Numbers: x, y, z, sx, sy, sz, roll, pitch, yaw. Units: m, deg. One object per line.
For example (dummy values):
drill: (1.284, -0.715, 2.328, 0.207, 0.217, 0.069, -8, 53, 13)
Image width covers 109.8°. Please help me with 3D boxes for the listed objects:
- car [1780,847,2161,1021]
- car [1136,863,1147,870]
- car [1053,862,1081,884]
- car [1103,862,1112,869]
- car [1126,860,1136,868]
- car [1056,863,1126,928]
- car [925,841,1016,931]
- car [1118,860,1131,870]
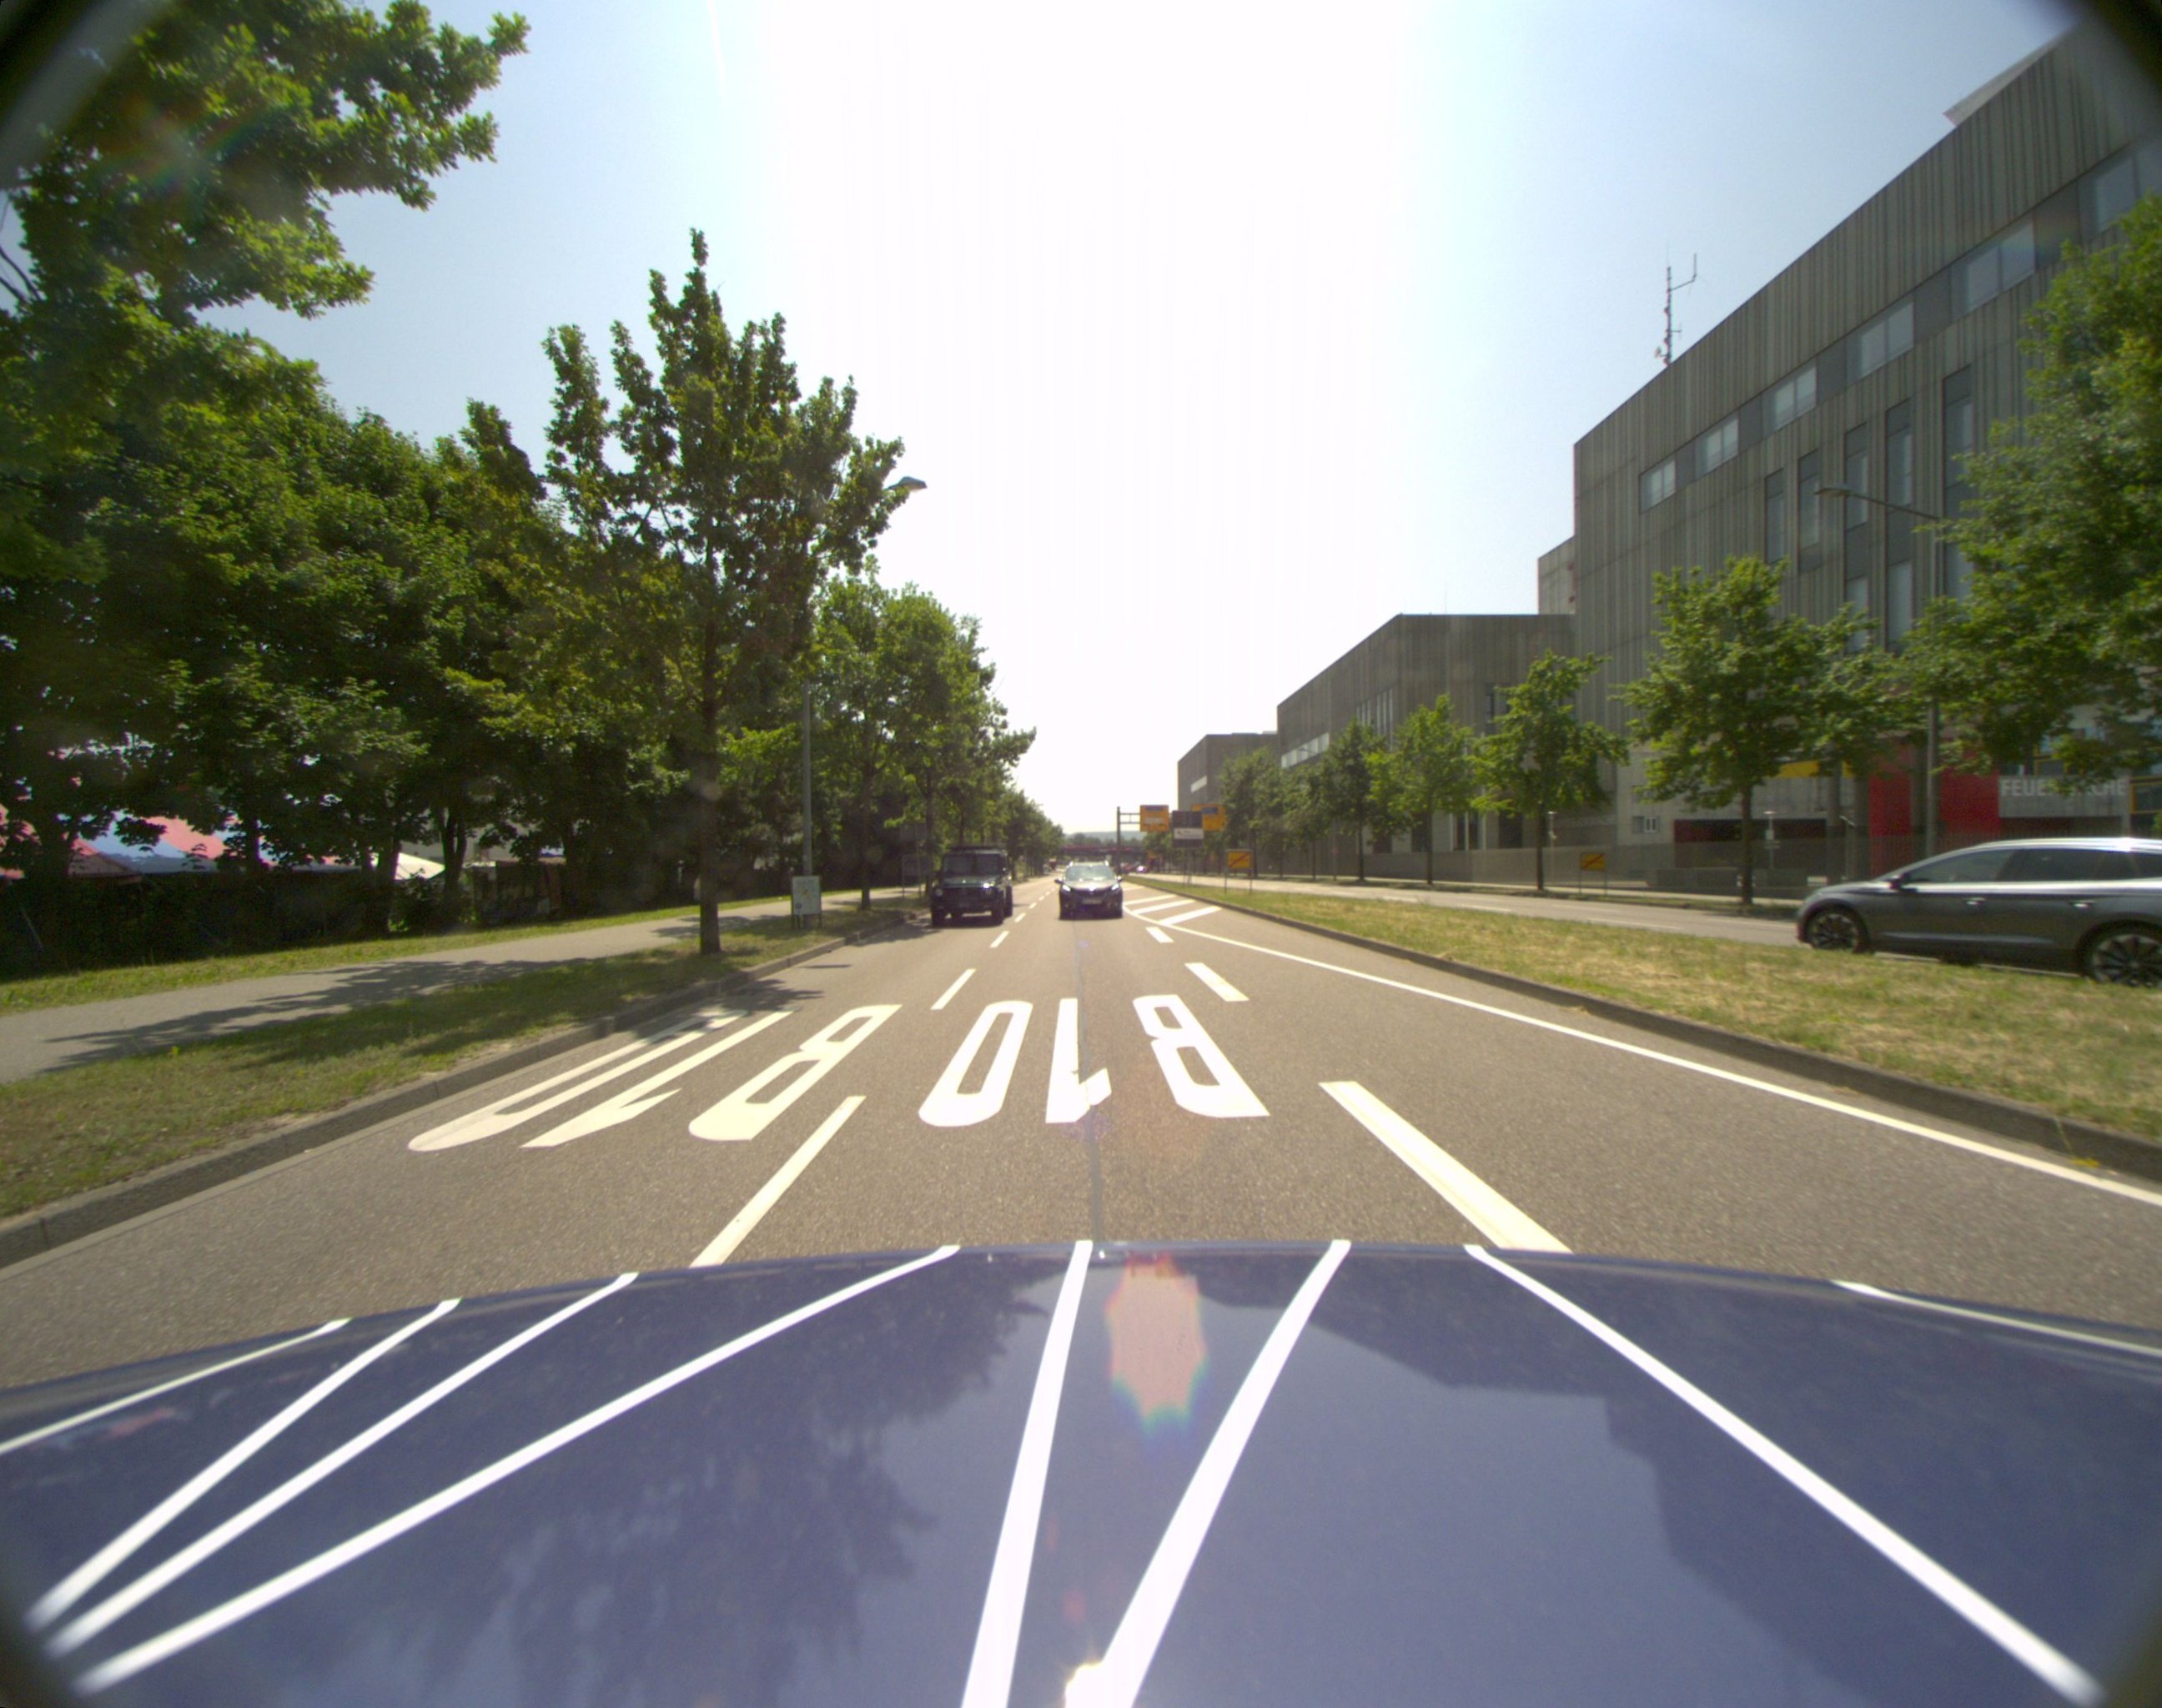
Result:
car: (10.884, 0.738, 8.475, 1.898, 1.601, 4.533, -1, 0, -2)
car: (11.850, 2.479, 148.941, 1.815, 1.419, 4.359, 0, -1, 0)
car: (-0.936, 1.290, 52.401, 1.817, 1.455, 4.000, -1, -1, -1)
car: (5.922, 2.497, 169.968, 1.815, 1.457, 4.057, 0, -1, 0)
car: (11.246, 2.316, 170.541, 1.815, 1.736, 4.645, -1, 0, -2)
car: (0.306, 1.059, 20.614, 1.619, 1.502, 4.459, -3, -1, 2)
car: (-2.867, 0.791, 20.591, 1.841, 2.141, 4.557, -1, 0, -1)
car: (6.735, 1.759, 118.542, 1.712, 1.463, 3.940, 0, -1, -2)
